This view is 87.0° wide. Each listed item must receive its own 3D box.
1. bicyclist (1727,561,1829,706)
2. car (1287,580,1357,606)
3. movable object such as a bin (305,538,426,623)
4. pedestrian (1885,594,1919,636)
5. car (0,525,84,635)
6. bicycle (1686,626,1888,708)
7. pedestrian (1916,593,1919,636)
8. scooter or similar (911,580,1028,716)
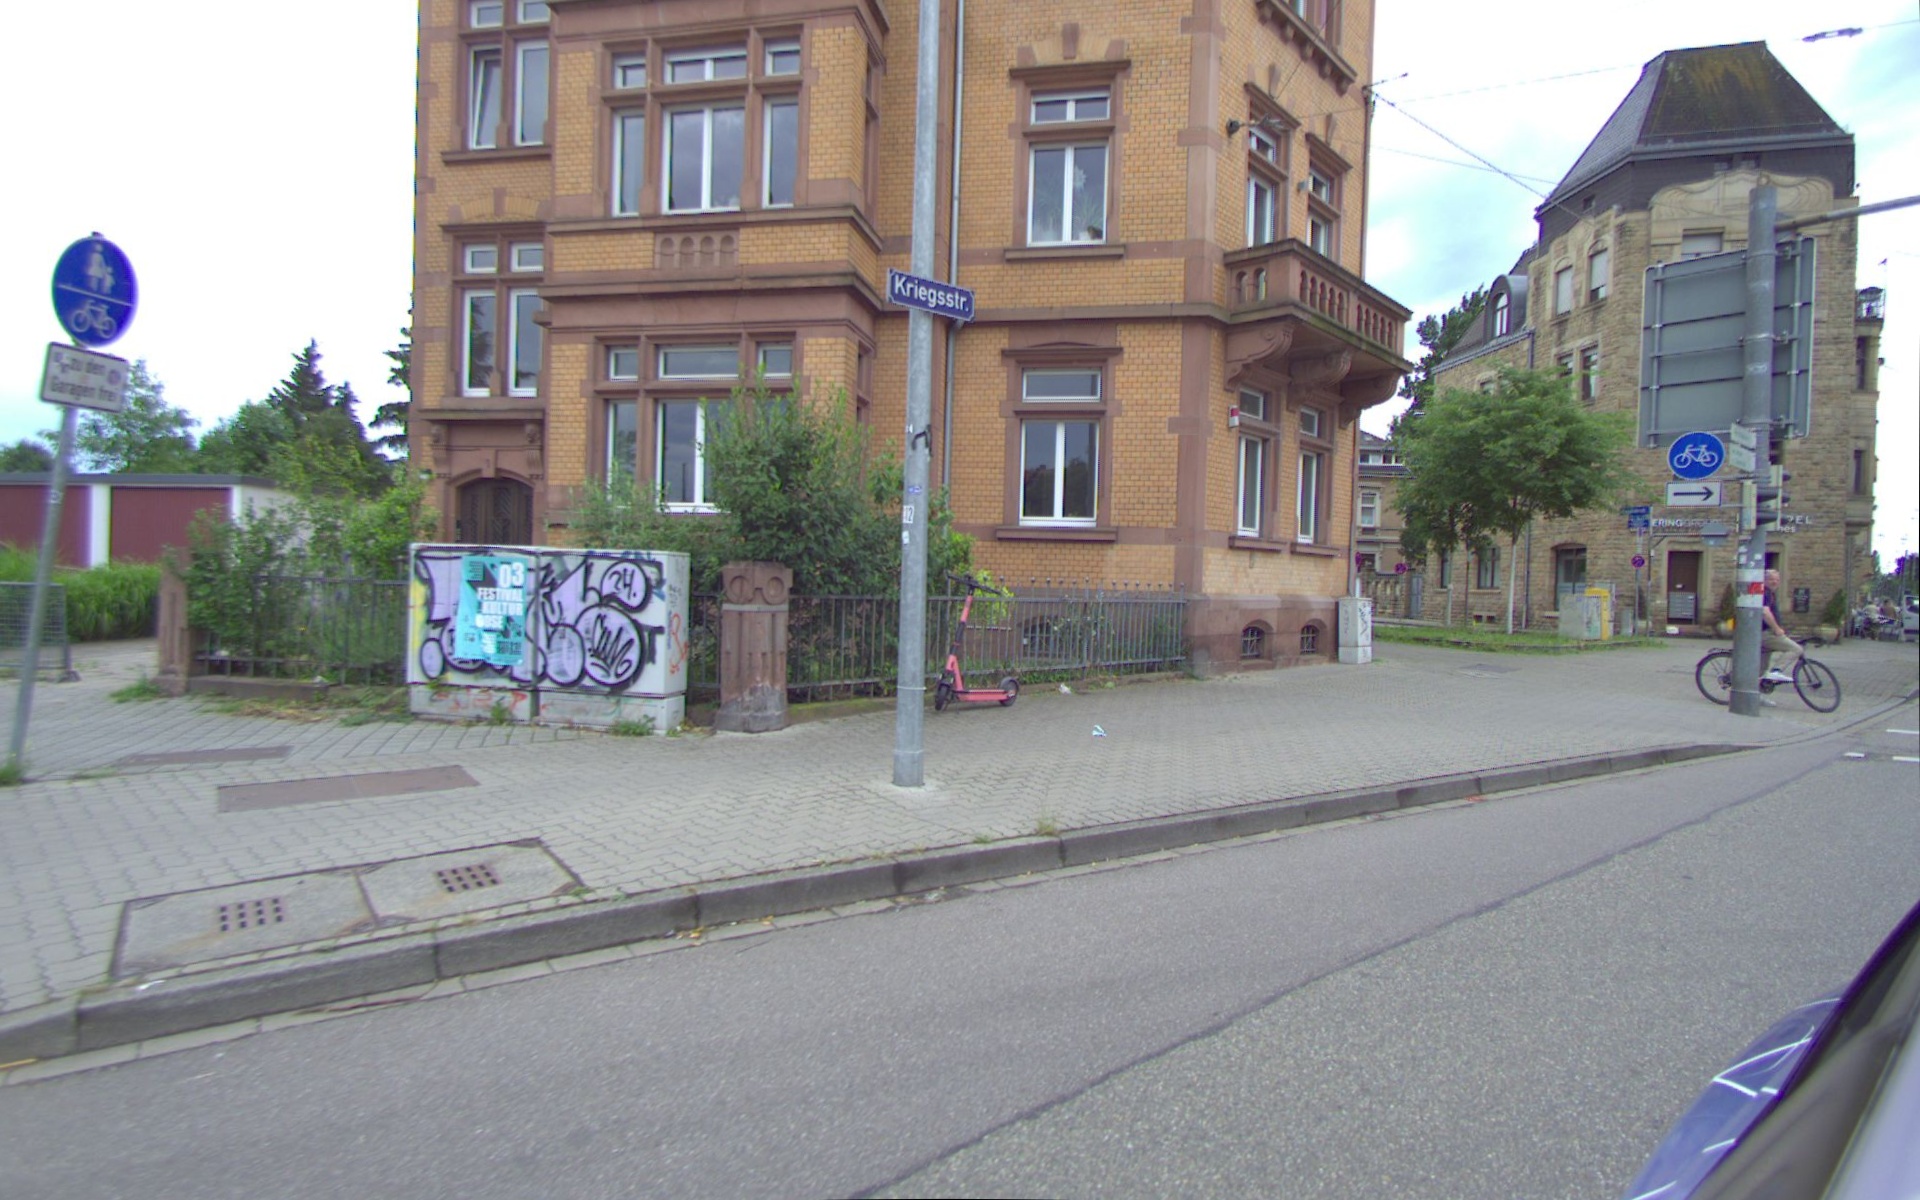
[{"bbox_3d":[10.703,0.419,13.275,0.671,1.818,0.888,1,0,11],"label":"bicyclist"},{"bbox_3d":[24.040,-0.458,67.282,3.970,1.451,1.754,3,2,3],"label":"car"},{"bbox_3d":[-10.481,-0.355,17.886,1.143,1.407,1.455,2,1,16],"label":"movable object such as a bin"},{"bbox_3d":[40.484,0.647,43.516,0.858,1.720,0.532,4,2,29],"label":"pedestrian"},{"bbox_3d":[-13.819,-0.272,13.068,1.668,1.469,3.470,2,3,16],"label":"car"},{"bbox_3d":[10.664,0.845,13.113,1.839,0.935,0.794,1,1,11],"label":"bicycle"},{"bbox_3d":[41.675,0.652,43.675,0.499,1.837,0.790,5,3,44],"label":"pedestrian"},{"bbox_3d":[0.103,0.407,9.247,0.375,1.155,1.182,3,2,40],"label":"scooter or similar"}]
